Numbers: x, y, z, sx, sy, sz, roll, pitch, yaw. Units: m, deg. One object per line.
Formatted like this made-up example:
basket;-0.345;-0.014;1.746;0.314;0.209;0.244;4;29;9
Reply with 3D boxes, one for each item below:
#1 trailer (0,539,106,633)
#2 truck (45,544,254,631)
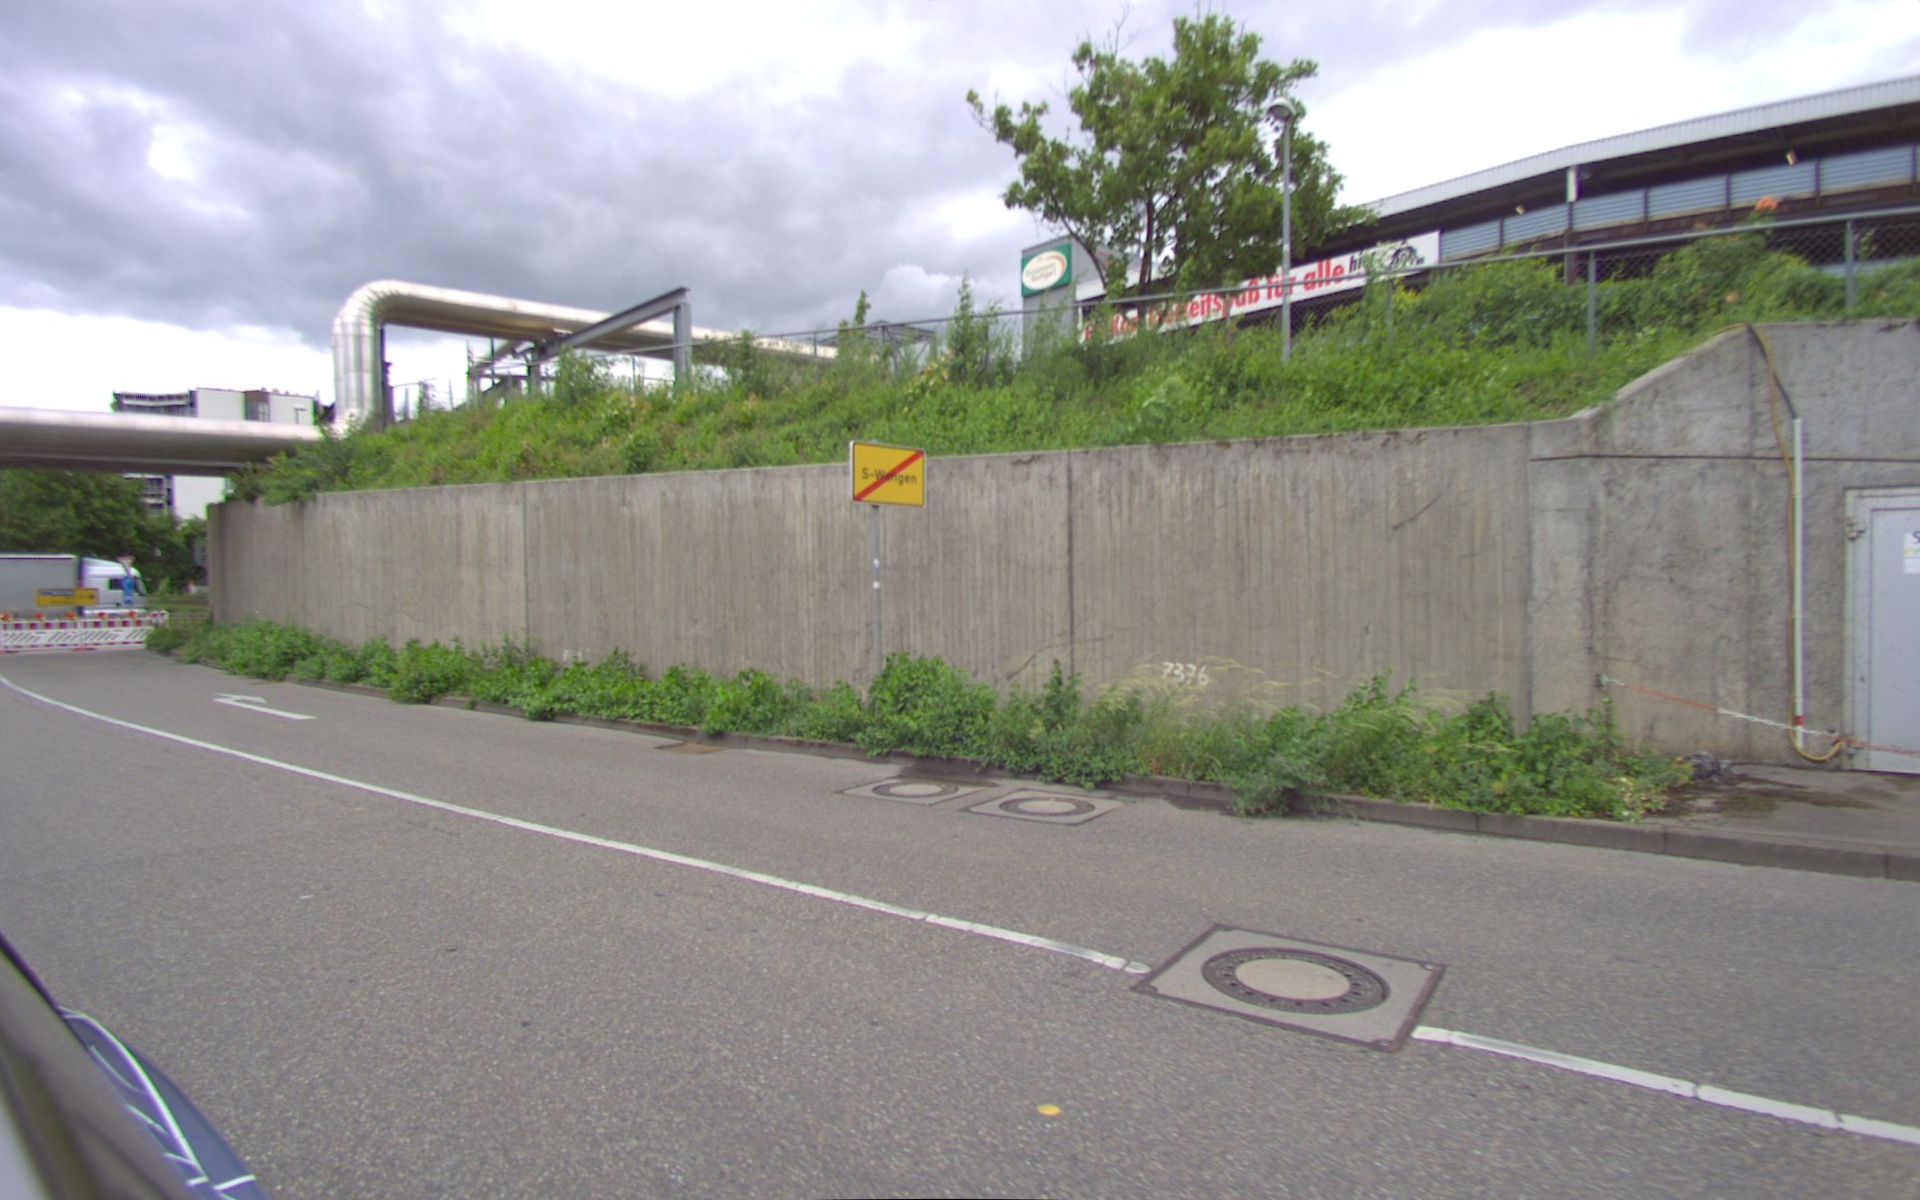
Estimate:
trailer;-47.726;-0.612;46.144;3.166;4.356;13.079;2;3;42
truck;-41.894;-0.756;52.558;3.164;4.161;8.028;3;3;42
